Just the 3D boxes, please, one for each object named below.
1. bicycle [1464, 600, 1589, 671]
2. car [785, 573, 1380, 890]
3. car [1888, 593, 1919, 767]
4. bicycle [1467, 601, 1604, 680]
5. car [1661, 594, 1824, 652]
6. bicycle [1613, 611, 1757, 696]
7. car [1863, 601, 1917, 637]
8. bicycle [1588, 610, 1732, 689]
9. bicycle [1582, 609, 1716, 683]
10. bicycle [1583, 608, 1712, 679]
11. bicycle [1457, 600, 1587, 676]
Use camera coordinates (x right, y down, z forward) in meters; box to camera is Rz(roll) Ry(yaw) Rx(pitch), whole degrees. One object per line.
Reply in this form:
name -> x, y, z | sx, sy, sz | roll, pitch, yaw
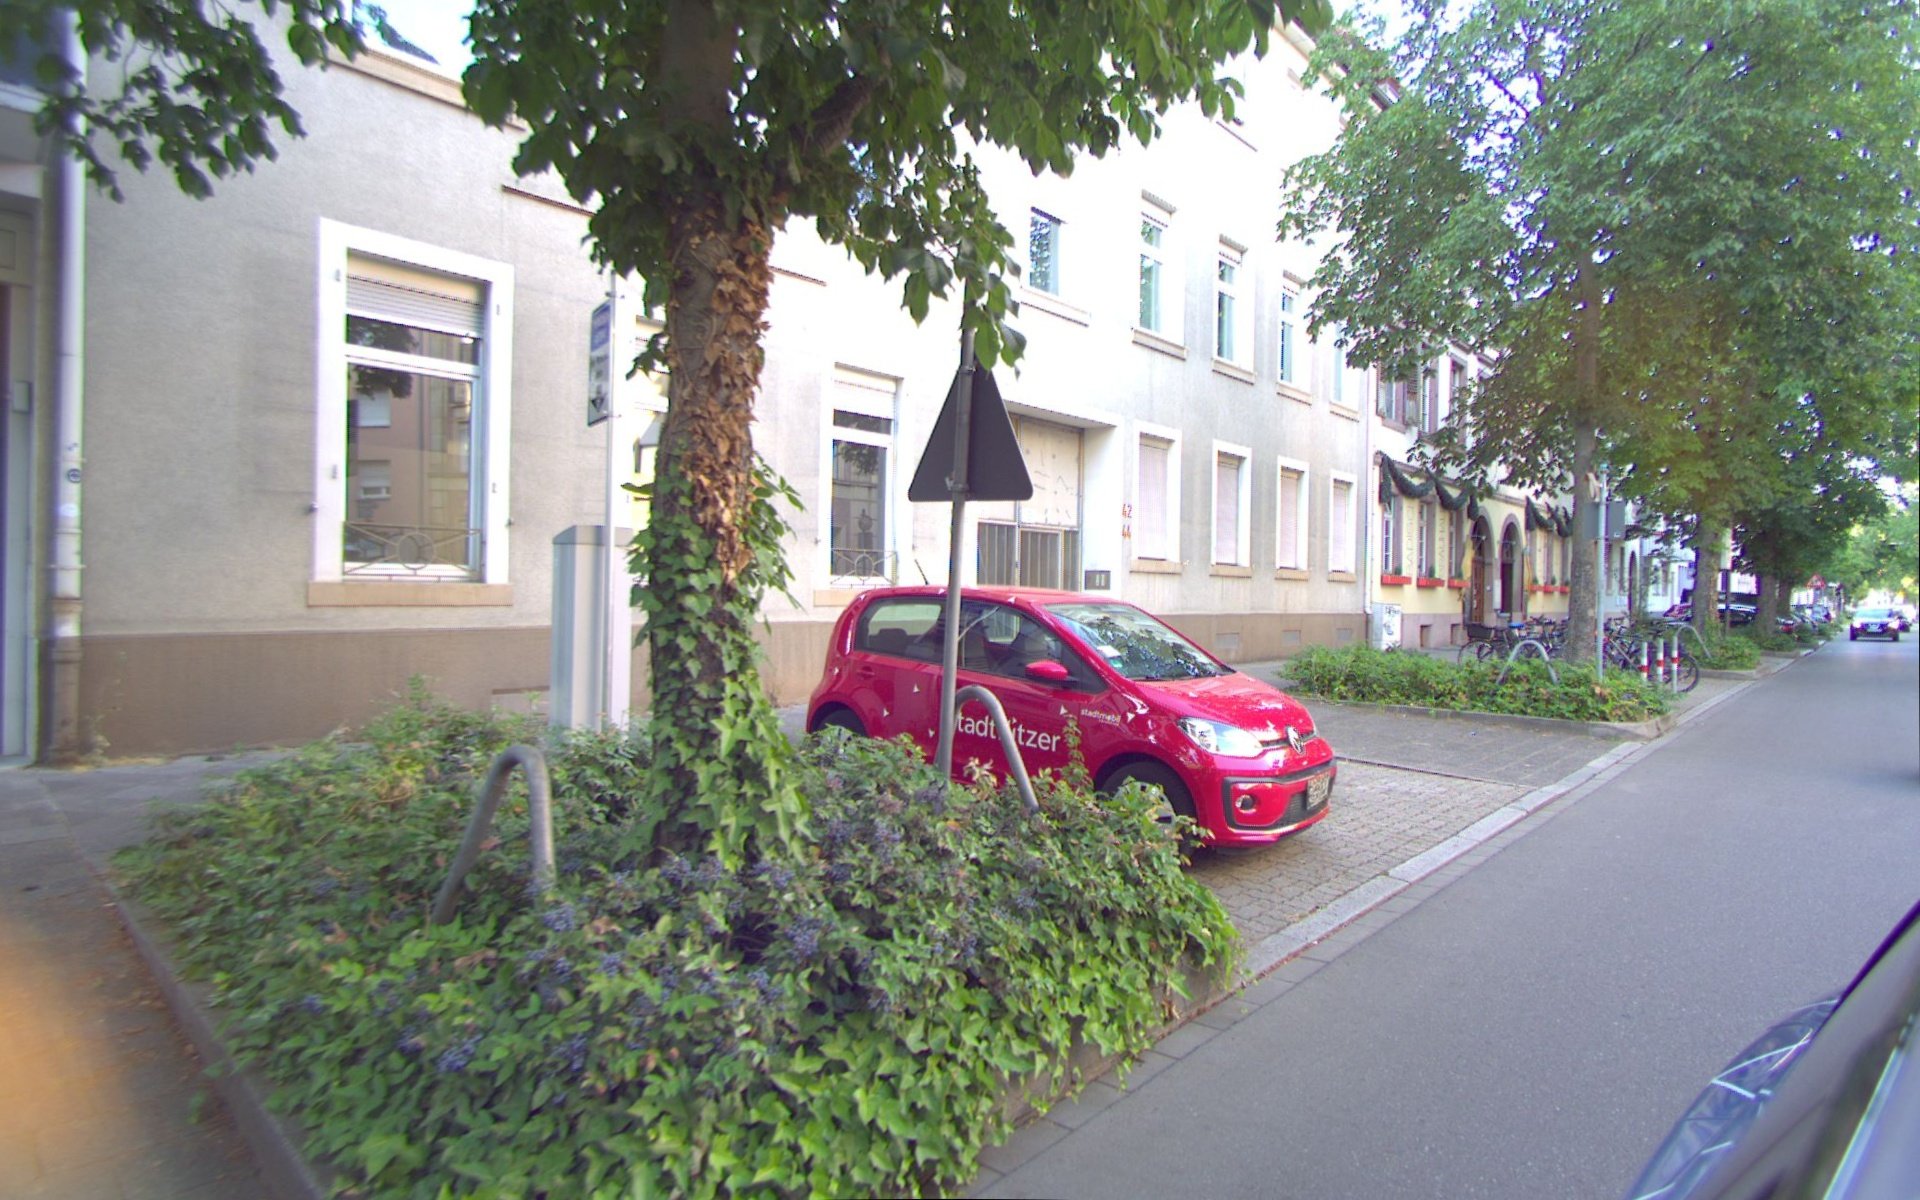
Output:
bicycle -> 10.763, 0.643, 19.280 | 2.017, 1.242, 0.529 | 2, 1, 37
car -> 0.630, 0.592, 6.660 | 3.608, 1.495, 1.639 | 2, 1, 42
car -> 10.034, 0.711, 7.442 | 4.375, 1.460, 1.703 | 1, 1, 17
bicycle -> 9.916, 0.663, 17.476 | 2.014, 1.242, 0.529 | 2, 1, 33
car -> 26.448, 0.737, 34.304 | 4.232, 1.761, 1.715 | 2, 1, 43
bicycle -> 11.684, 0.835, 16.386 | 1.835, 1.242, 0.529 | 2, 1, 33
car -> 44.178, 0.859, 48.120 | 1.800, 1.571, 3.939 | 2, 1, 42
bicycle -> 12.187, 0.837, 17.673 | 2.019, 1.242, 0.528 | 2, 1, 39
bicycle -> 12.823, 0.822, 18.866 | 2.019, 1.242, 0.528 | 2, 1, 39
bicycle -> 13.303, 0.813, 19.620 | 2.019, 1.242, 0.528 | 2, 1, 39
bicycle -> 10.132, 0.655, 18.286 | 2.014, 1.242, 0.529 | 2, 1, 33
